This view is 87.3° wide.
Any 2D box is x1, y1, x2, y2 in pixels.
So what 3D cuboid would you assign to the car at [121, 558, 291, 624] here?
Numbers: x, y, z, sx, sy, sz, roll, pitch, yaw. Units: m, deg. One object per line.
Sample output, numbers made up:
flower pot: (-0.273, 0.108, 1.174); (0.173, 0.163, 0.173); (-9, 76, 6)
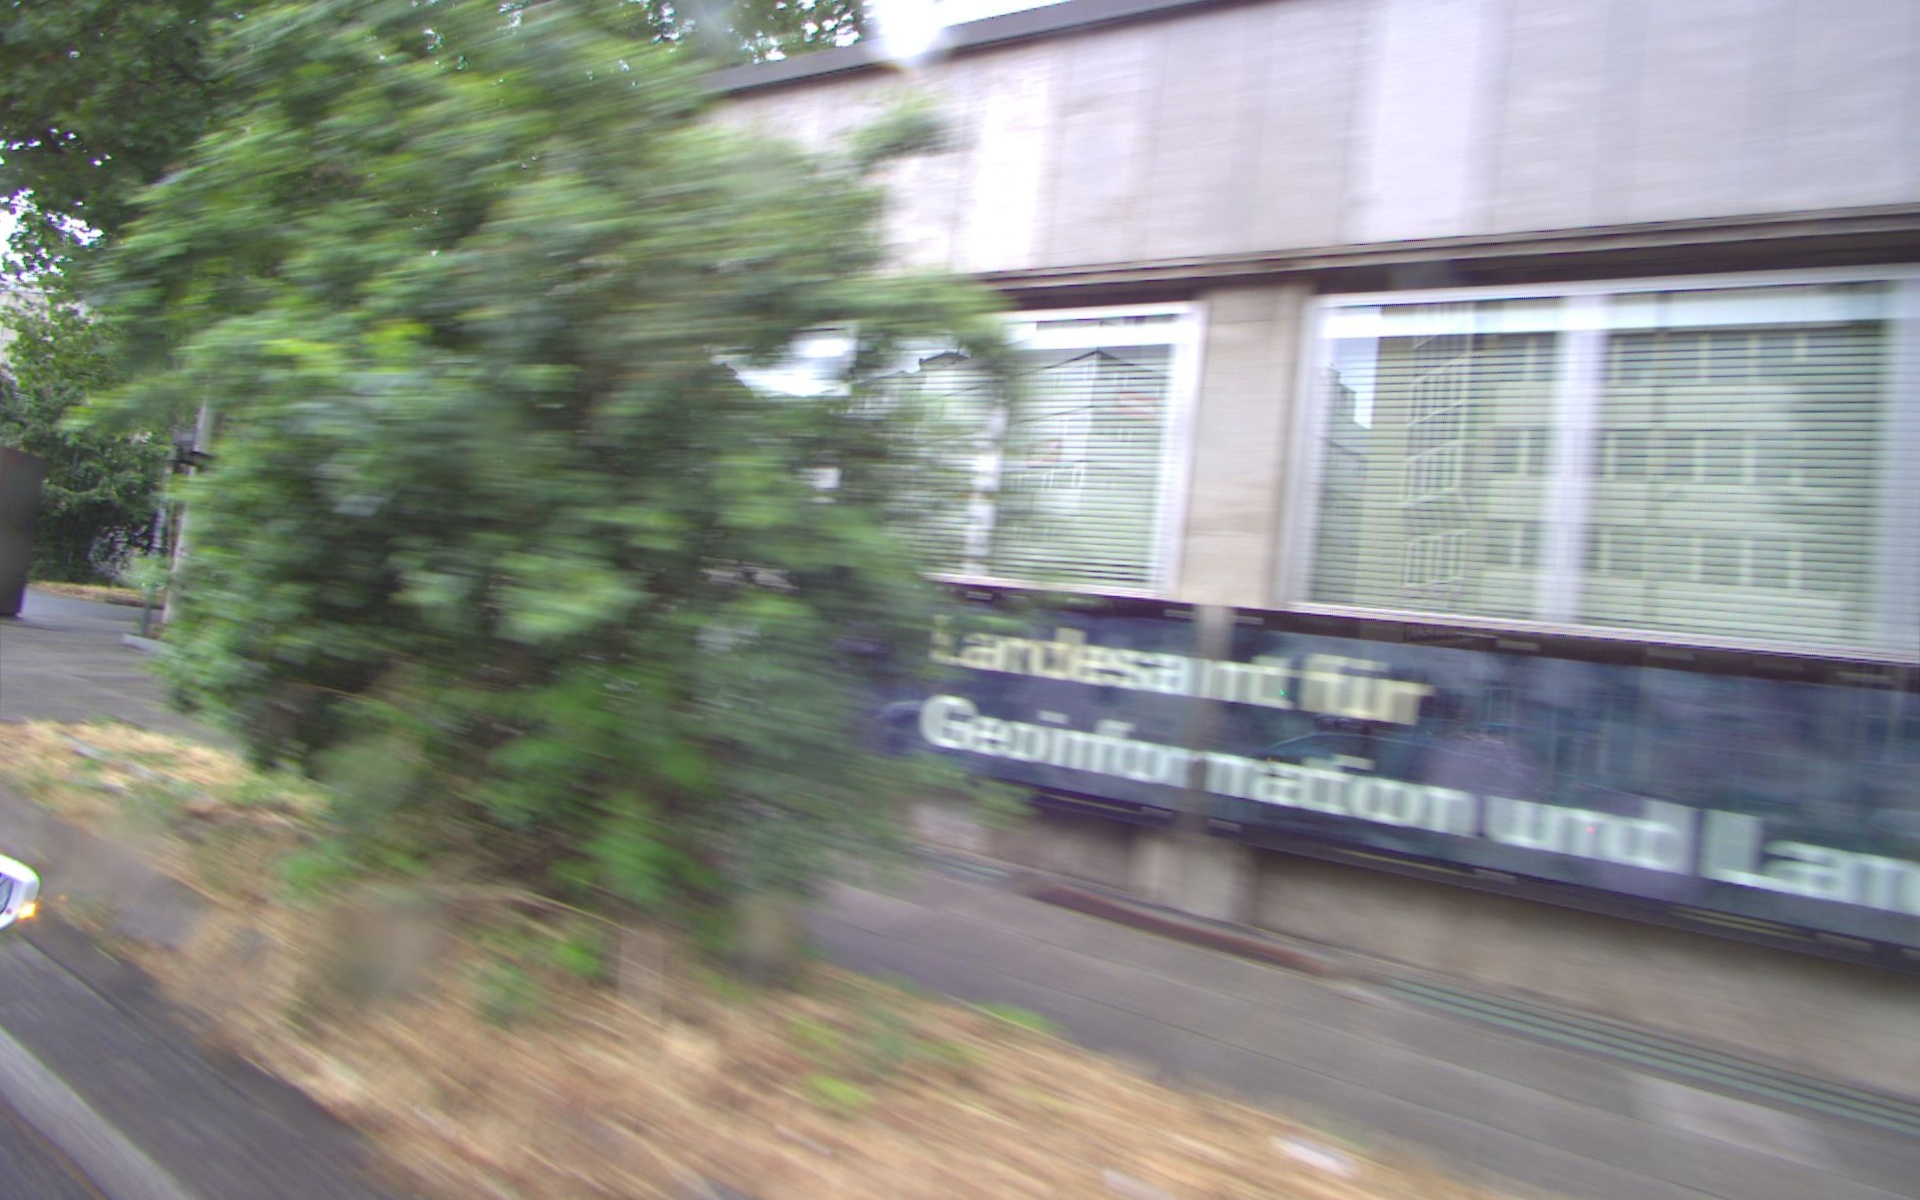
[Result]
car: (-25.420, -0.258, 34.069); (1.964, 1.456, 4.006); (6, -6, 25)
